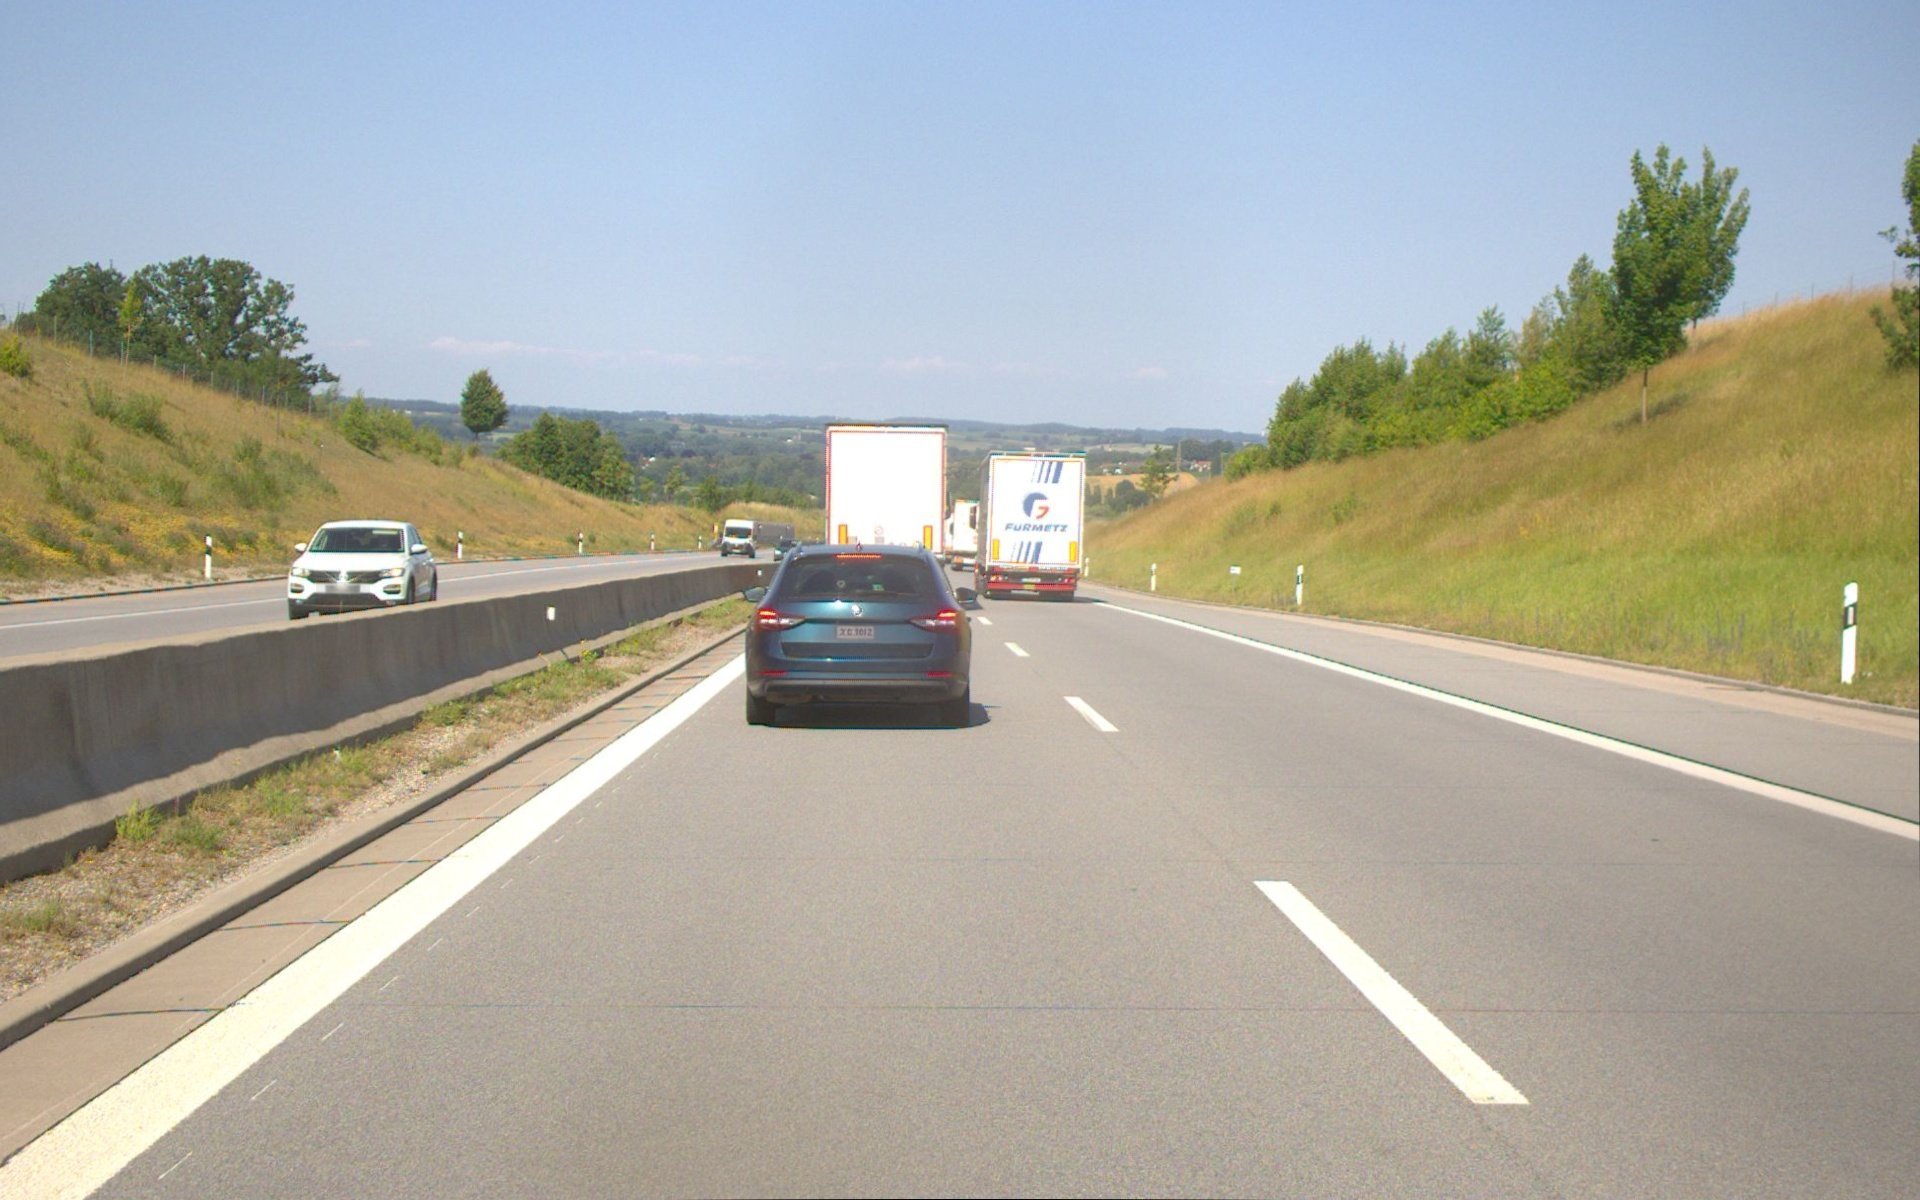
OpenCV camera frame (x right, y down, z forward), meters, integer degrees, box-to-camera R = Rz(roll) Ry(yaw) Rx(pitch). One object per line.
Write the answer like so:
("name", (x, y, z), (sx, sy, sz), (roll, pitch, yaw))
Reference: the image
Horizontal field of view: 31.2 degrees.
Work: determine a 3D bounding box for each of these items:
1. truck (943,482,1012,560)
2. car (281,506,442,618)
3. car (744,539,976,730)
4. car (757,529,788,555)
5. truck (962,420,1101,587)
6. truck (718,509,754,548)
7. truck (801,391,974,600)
("truck", (1.076, -4.577, 200.759), (3.604, 4.366, 11.233), (1, 1, 2))
("car", (-9.022, -0.594, 52.105), (1.775, 1.596, 4.040), (1, 1, -1))
("car", (-0.828, 0.233, 28.289), (1.776, 1.436, 3.789), (0, 1, -2))
("car", (-11.187, -3.482, 205.430), (1.773, 1.444, 4.184), (2, 1, -3))
("truck", (2.083, -2.665, 96.507), (3.604, 4.366, 11.233), (1, 1, 2))
("truck", (-14.727, -4.718, 226.461), (1.993, 2.440, 5.668), (2, 1, -1))
("truck", (-1.511, -2.324, 78.259), (3.211, 4.366, 11.233), (1, 1, 2))
